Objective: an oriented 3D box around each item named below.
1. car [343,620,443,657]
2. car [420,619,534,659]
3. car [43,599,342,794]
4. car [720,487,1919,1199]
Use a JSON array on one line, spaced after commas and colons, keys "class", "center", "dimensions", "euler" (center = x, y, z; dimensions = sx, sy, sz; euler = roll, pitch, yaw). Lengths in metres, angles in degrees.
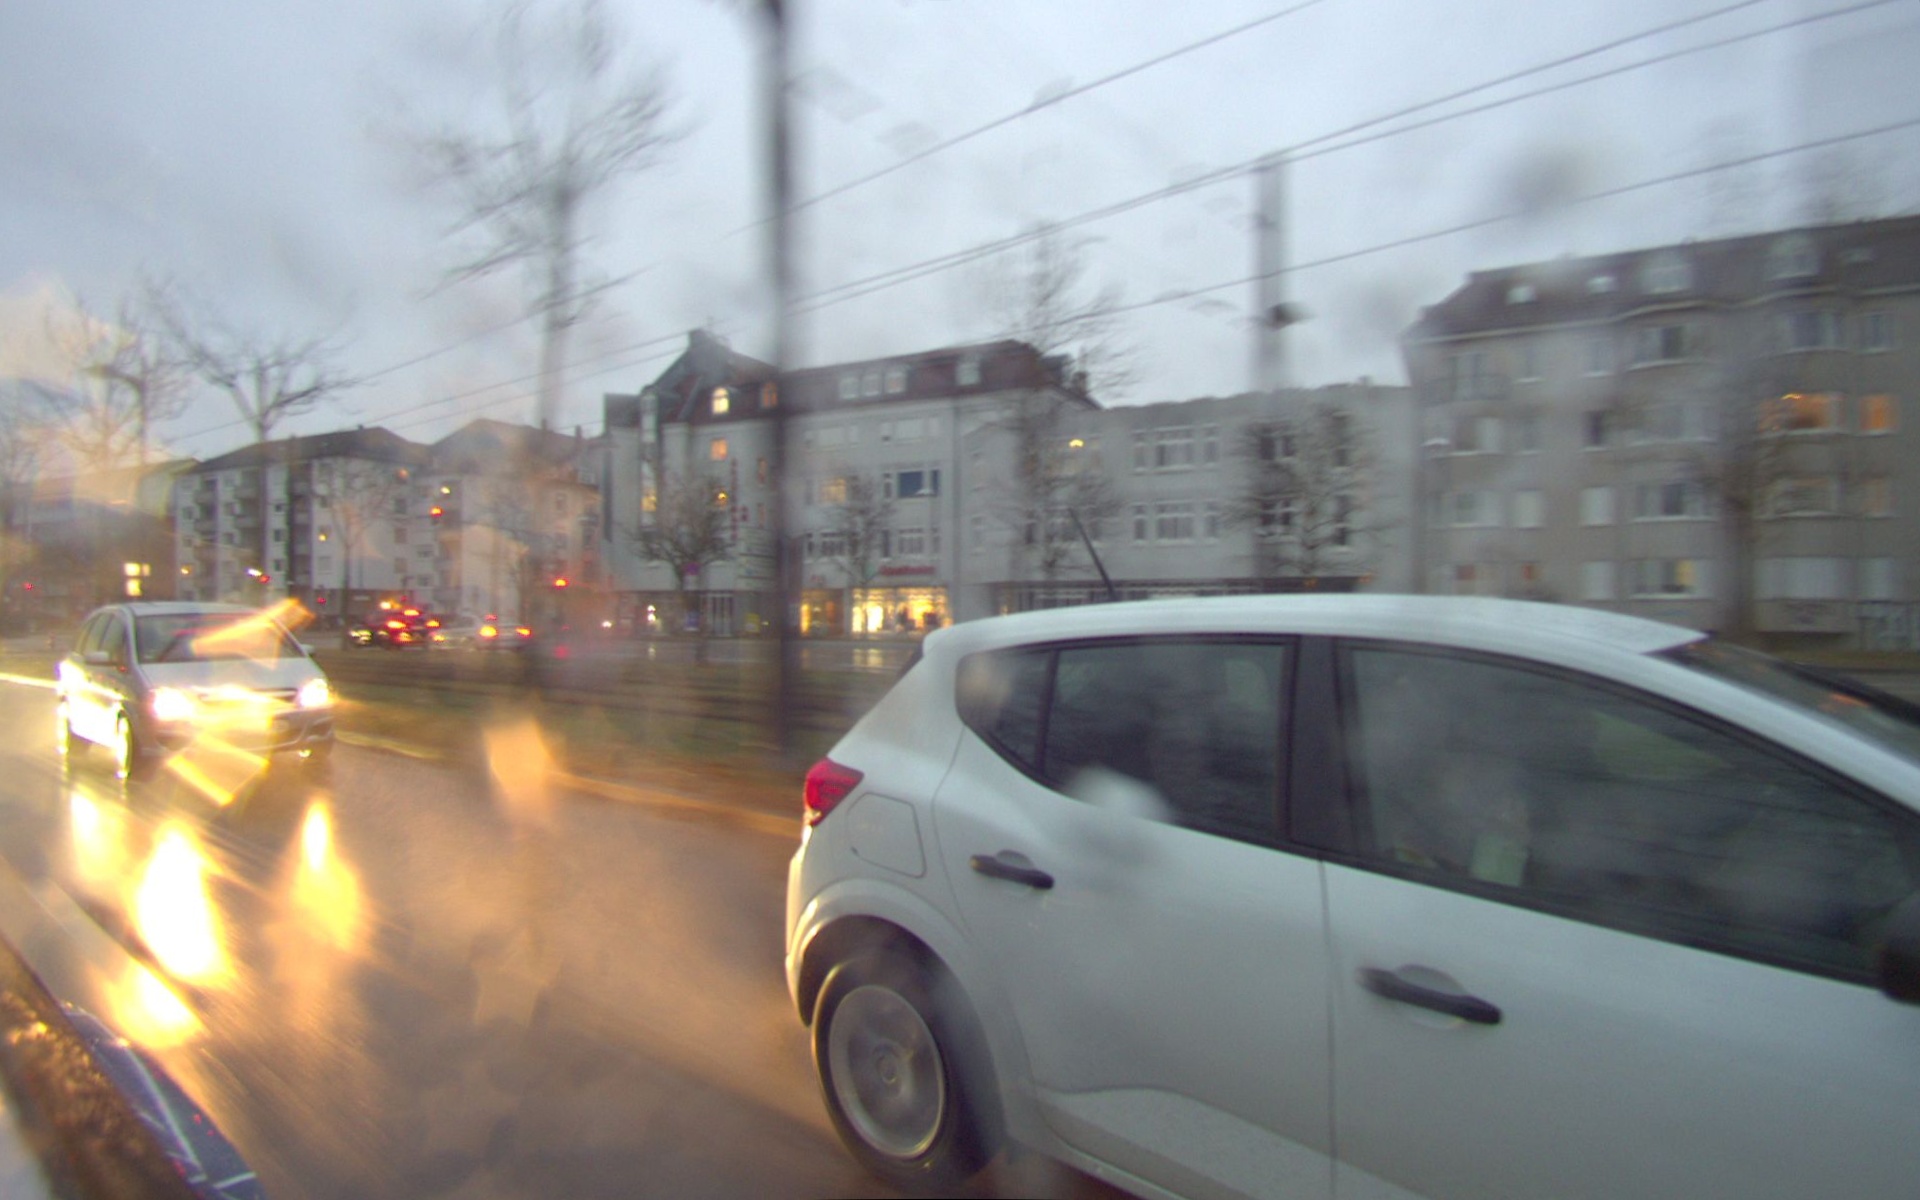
[{"class": "car", "center": [-22.323, 1.477, 39.786], "dimensions": [4.282, 1.365, 1.874], "euler": [-1, -2, 37]}, {"class": "car", "center": [-17.252, 1.355, 36.084], "dimensions": [4.281, 1.365, 1.875], "euler": [-1, -2, 36]}, {"class": "car", "center": [-7.806, 0.815, 10.169], "dimensions": [3.921, 1.587, 1.648], "euler": [-1, -1, 41]}, {"class": "car", "center": [1.441, 0.639, 2.122], "dimensions": [4.132, 1.536, 1.691], "euler": [-1, -1, 41]}]
